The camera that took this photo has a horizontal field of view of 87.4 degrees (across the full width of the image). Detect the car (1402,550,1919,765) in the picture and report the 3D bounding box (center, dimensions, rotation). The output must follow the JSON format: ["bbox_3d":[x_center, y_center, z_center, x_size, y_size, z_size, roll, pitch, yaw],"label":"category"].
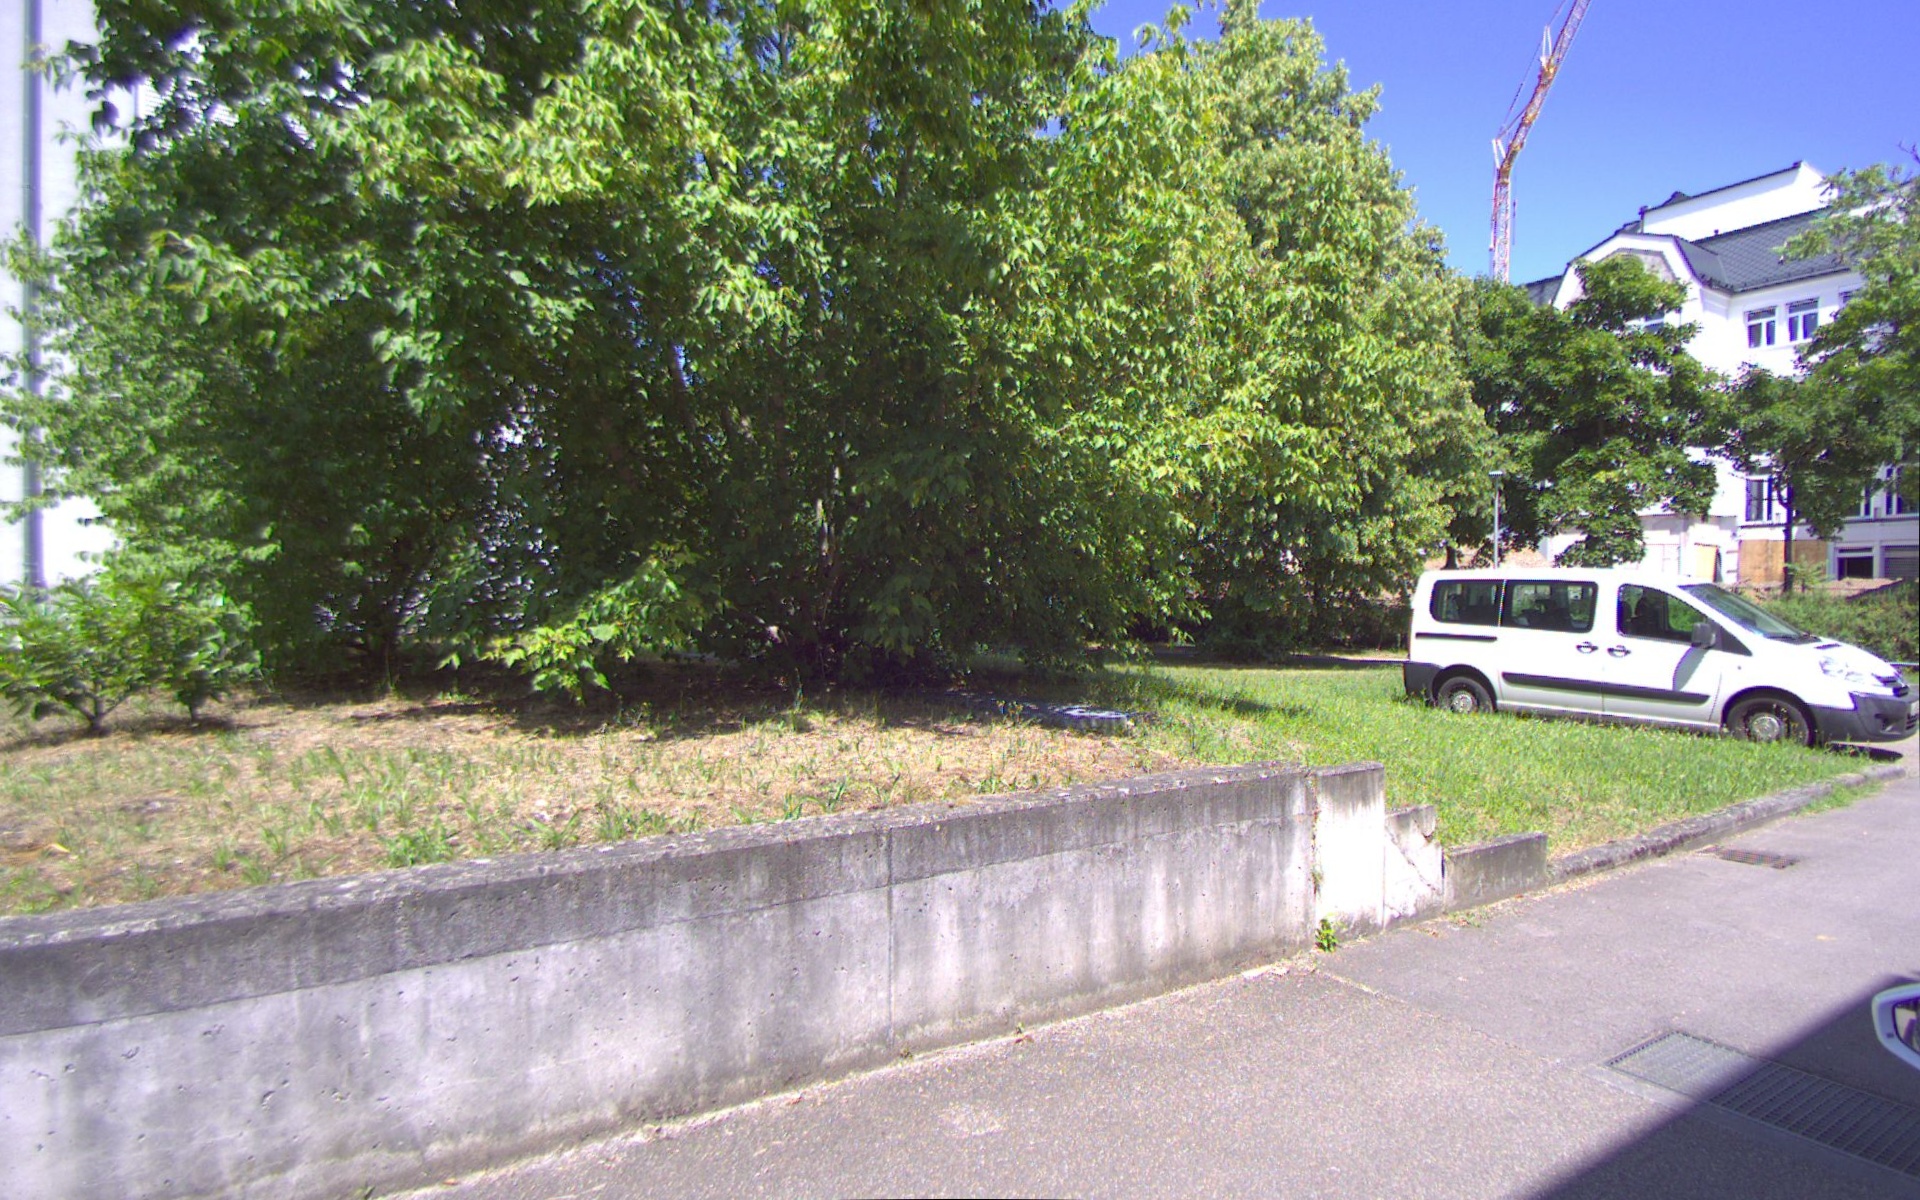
[{"bbox_3d":[7.866,0.564,11.541,1.982,1.936,4.752,2,-2,-38],"label":"car"}]
